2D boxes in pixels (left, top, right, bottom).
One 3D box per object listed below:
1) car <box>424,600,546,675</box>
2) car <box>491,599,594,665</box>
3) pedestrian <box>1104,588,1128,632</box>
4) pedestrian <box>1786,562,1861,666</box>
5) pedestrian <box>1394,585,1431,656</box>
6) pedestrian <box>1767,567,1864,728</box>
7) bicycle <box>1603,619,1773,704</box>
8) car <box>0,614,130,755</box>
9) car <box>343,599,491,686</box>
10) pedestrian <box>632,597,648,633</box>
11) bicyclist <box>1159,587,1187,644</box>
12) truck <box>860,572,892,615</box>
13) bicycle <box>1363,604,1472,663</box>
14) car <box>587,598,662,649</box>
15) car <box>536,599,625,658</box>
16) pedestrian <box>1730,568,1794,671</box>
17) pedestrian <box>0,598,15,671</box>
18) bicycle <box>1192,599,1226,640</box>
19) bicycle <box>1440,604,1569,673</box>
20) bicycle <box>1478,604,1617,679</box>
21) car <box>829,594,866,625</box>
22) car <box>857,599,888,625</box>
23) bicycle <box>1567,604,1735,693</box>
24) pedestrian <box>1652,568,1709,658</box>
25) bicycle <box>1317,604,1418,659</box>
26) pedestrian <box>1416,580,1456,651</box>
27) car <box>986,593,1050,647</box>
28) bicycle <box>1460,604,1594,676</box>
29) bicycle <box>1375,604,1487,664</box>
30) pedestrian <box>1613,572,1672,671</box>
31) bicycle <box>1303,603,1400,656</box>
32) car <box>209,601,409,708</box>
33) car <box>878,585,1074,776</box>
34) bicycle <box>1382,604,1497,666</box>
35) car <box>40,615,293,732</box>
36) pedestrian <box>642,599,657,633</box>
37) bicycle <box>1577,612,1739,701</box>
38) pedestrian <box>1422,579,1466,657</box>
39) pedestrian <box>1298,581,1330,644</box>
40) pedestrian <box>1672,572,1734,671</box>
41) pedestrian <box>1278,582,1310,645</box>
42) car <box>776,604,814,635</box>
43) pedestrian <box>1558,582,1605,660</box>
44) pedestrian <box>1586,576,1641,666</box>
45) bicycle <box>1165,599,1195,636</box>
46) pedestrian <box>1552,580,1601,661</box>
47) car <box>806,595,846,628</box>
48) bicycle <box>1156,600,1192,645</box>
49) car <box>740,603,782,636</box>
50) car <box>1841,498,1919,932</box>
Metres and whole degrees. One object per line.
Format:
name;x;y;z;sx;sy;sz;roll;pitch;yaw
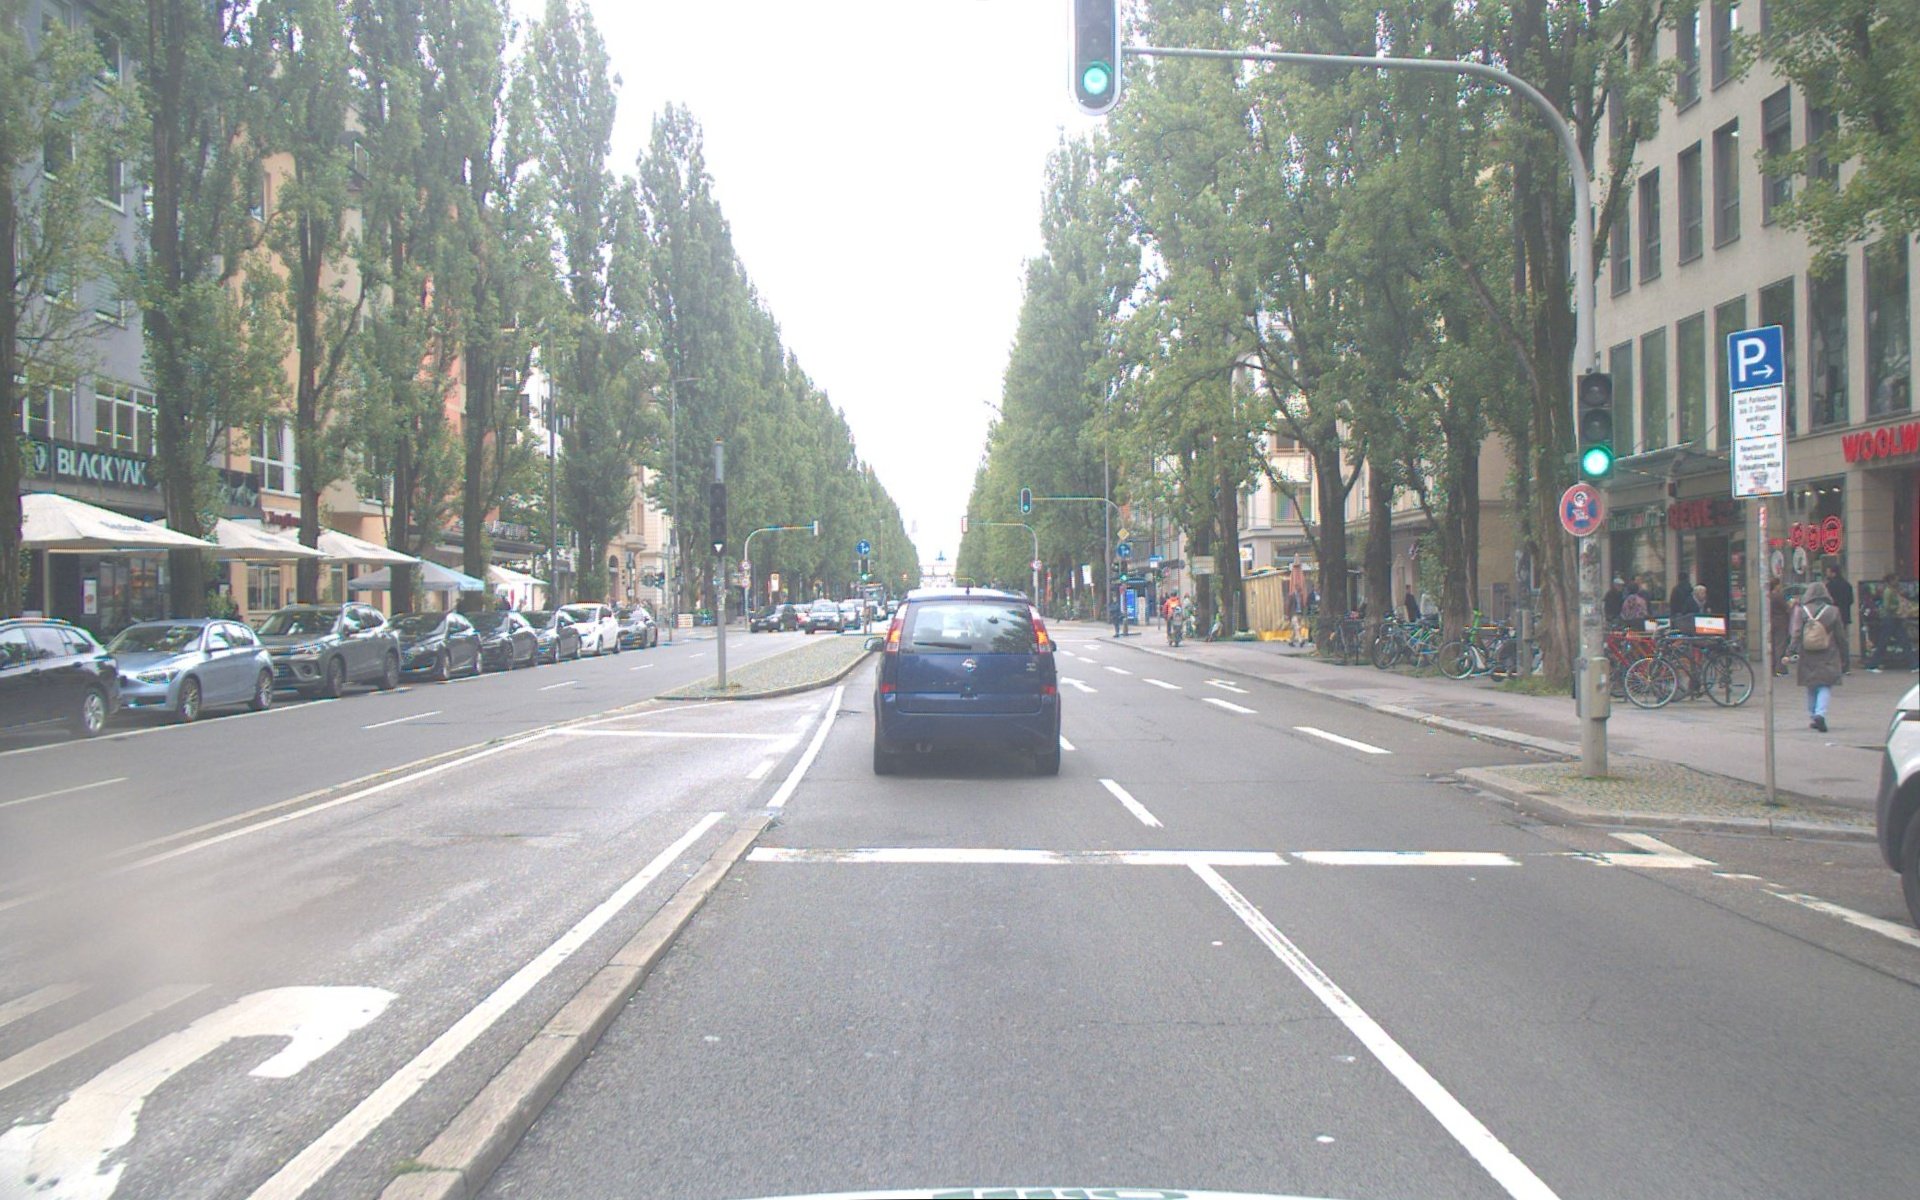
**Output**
car;-11.758;0.892;41.190;1.828;1.694;4.119;-2;0;-1
car;-11.729;0.868;46.717;1.828;1.694;4.119;-2;0;-1
pedestrian;6.413;0.409;67.998;0.865;1.797;0.769;-1;0;-4
pedestrian;14.571;0.241;27.934;0.781;1.707;0.877;-1;-1;4
pedestrian;12.065;0.536;44.100;0.625;1.859;0.885;1;-1;-11
pedestrian;9.396;0.513;18.168;0.745;1.715;0.746;-2;-1;41
bicycle;9.586;0.801;21.811;1.955;1.051;0.626;-1;0;-3
car;-11.438;0.980;18.850;1.762;1.514;4.349;-2;0;-1
car;-11.682;0.872;35.859;1.828;1.694;4.119;-2;0;-1
pedestrian;-16.544;0.770;85.478;0.754;1.797;0.882;-1;0;-14
bicyclist;6.844;0.485;53.074;0.752;1.797;0.885;-1;0;-1
truck;-6.865;-0.517;135.559;2.334;3.405;7.109;-1;0;-1
bicycle;9.921;0.724;35.903;2.182;1.225;0.626;-1;0;-3
car;-11.961;0.805;59.250;1.828;1.694;4.119;-2;0;-1
car;-11.866;0.850;51.976;1.828;1.694;4.119;-2;0;-1
pedestrian;13.664;0.336;28.205;0.740;1.715;0.675;-1;-1;4
pedestrian;-19.227;0.664;32.601;0.750;1.434;0.799;1;-1;-6
bicycle;8.554;0.658;56.952;0.757;1.372;2.449;-1;0;-1
bicycle;10.136;0.704;30.813;2.182;1.225;0.626;-1;0;-3
bicycle;10.156;0.707;28.618;2.182;1.225;0.626;-1;0;-3
car;-6.222;0.508;91.693;1.828;1.695;4.119;-1;0;-1
car;-5.817;0.799;110.366;1.828;1.695;4.119;-1;0;-1
bicycle;10.019;0.691;24.007;2.182;1.225;0.626;-1;0;-3
pedestrian;15.166;0.265;34.829;0.706;1.859;0.885;1;-1;-11
bicycle;9.558;0.732;38.810;2.182;1.225;0.626;-1;0;-3
pedestrian;12.742;0.413;44.301;0.706;1.859;0.885;1;-1;-11
car;1.792;0.613;52.591;1.858;1.650;3.999;0;0;-1
bicycle;10.184;0.707;29.730;2.182;1.225;0.626;-1;0;-3
bicycle;9.980;0.717;35.106;2.182;1.225;0.626;-1;0;-3
pedestrian;12.106;0.381;29.347;0.660;1.715;0.758;-1;-1;-5
bicycle;9.514;0.701;40.188;2.182;1.225;0.626;-1;0;-3
car;-11.566;0.901;29.725;1.828;1.694;4.400;-2;0;-1
car;0.117;0.668;15.840;1.637;1.596;3.999;0;0;-1
bicycle;9.930;0.712;34.296;2.182;1.225;0.626;-1;0;-3
car;-11.477;1.003;24.244;1.698;1.450;4.142;-2;0;-1
pedestrian;-16.500;0.861;87.805;0.754;1.797;0.882;-1;0;-12
bicycle;9.572;0.762;22.721;1.955;1.153;0.626;-1;0;-3
pedestrian;11.721;0.446;40.073;0.706;1.859;0.885;1;-1;-11
pedestrian;10.575;0.373;49.441;0.625;1.859;0.885;1;-1;-11
pedestrian;13.221;0.379;29.435;0.741;1.715;0.675;-1;-1;-1
pedestrian;9.929;0.402;49.151;0.625;1.859;0.885;1;-1;-11
car;-9.587;1.116;96.465;1.828;1.695;4.119;-1;0;-1
pedestrian;15.101;0.500;40.169;0.706;1.859;0.885;1;-1;-11
pedestrian;13.708;0.434;34.706;0.706;1.859;0.885;1;-1;-11
bicycle;8.300;0.650;62.486;0.757;1.372;2.449;-1;0;-1
pedestrian;14.265;0.472;38.286;0.706;1.859;0.885;1;-1;-11
car;-6.409;0.544;79.339;1.699;1.491;3.364;-1;0;-1
bicycle;6.848;0.703;53.040;0.757;1.372;2.449;-1;0;-1
car;-10.885;1.055;90.634;1.828;1.695;4.119;-1;0;-1
car;5.275;0.526;5.849;1.751;1.980;4.729;0;0;-1
